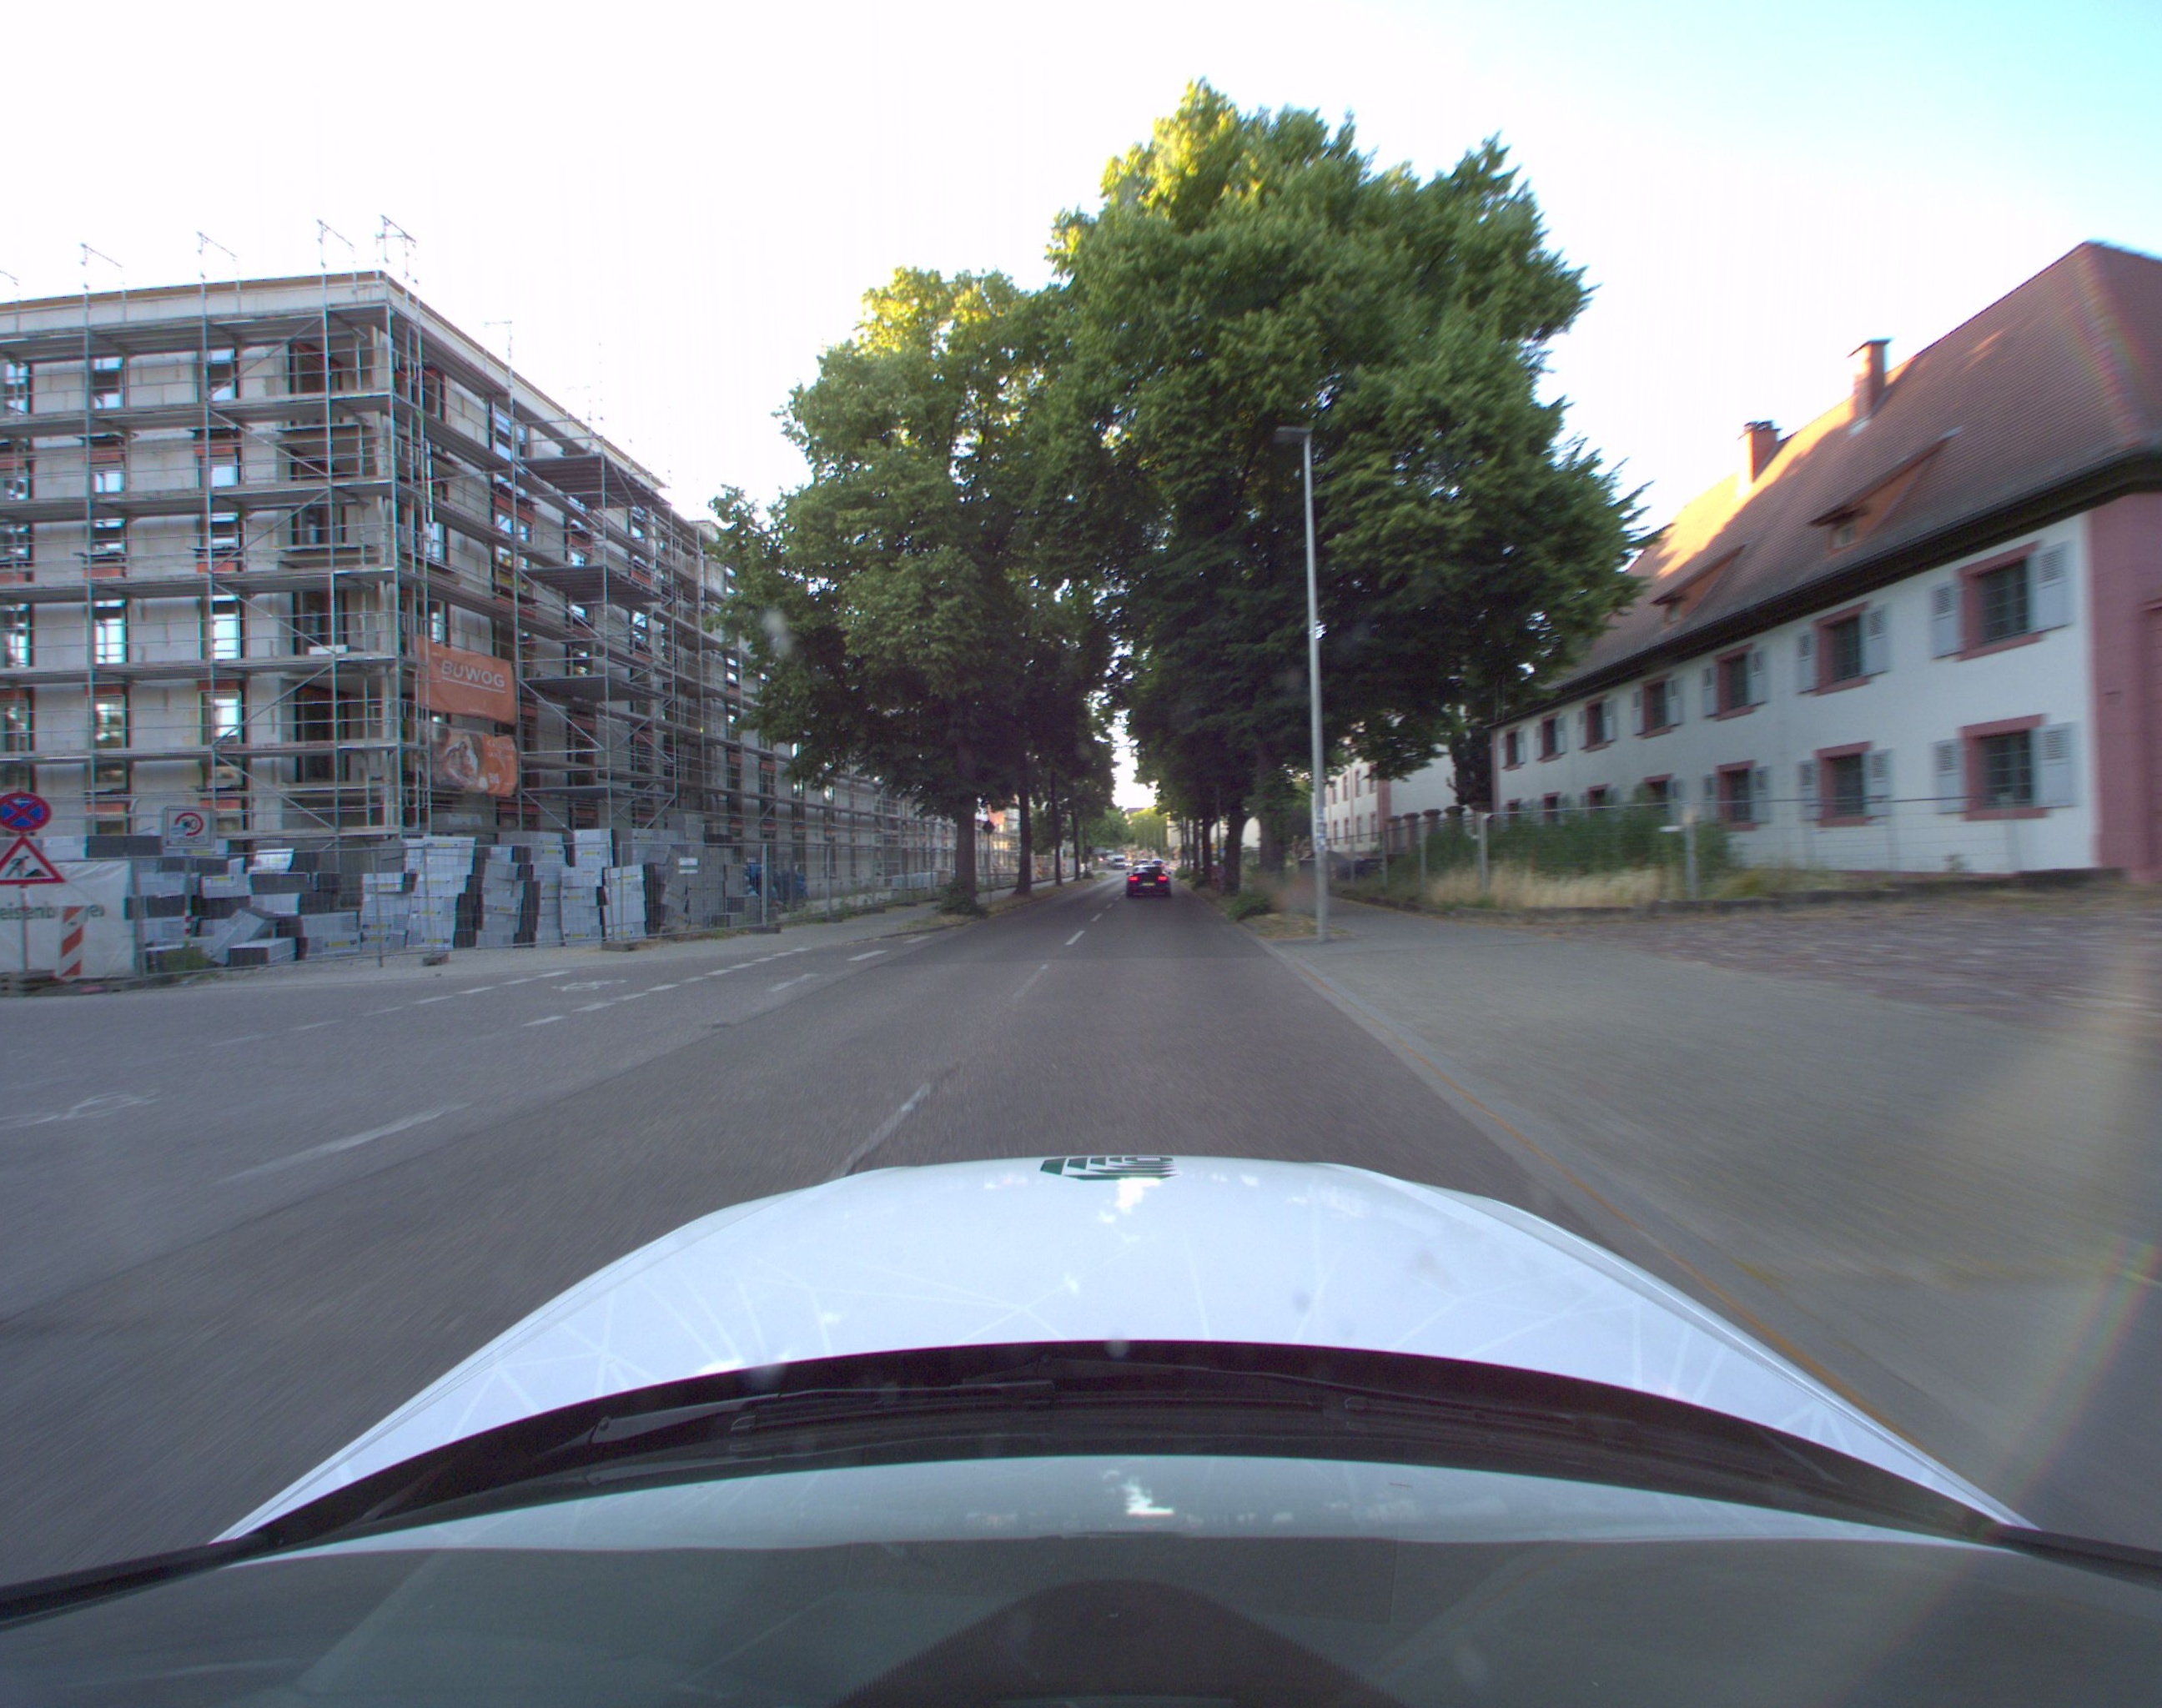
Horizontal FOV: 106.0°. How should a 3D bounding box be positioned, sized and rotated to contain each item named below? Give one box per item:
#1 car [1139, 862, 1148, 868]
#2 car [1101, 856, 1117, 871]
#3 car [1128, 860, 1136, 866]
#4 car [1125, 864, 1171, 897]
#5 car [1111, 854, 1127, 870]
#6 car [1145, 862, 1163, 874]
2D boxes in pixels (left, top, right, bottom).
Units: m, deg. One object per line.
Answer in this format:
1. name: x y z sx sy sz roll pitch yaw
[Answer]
1. car: 12.960 2.251 169.141 1.938 1.326 4.005 0 0 5
2. car: 4.326 1.432 126.526 2.329 2.198 5.307 -2 0 -1
3. car: 12.712 2.211 202.294 1.938 1.326 4.005 0 0 5
4. car: 2.971 1.136 36.056 1.938 1.326 4.005 0 0 5
5. car: 6.467 1.370 138.051 2.482 2.697 5.833 -2 -1 2
6. car: 8.565 1.635 95.413 1.937 1.326 4.007 0 0 7
